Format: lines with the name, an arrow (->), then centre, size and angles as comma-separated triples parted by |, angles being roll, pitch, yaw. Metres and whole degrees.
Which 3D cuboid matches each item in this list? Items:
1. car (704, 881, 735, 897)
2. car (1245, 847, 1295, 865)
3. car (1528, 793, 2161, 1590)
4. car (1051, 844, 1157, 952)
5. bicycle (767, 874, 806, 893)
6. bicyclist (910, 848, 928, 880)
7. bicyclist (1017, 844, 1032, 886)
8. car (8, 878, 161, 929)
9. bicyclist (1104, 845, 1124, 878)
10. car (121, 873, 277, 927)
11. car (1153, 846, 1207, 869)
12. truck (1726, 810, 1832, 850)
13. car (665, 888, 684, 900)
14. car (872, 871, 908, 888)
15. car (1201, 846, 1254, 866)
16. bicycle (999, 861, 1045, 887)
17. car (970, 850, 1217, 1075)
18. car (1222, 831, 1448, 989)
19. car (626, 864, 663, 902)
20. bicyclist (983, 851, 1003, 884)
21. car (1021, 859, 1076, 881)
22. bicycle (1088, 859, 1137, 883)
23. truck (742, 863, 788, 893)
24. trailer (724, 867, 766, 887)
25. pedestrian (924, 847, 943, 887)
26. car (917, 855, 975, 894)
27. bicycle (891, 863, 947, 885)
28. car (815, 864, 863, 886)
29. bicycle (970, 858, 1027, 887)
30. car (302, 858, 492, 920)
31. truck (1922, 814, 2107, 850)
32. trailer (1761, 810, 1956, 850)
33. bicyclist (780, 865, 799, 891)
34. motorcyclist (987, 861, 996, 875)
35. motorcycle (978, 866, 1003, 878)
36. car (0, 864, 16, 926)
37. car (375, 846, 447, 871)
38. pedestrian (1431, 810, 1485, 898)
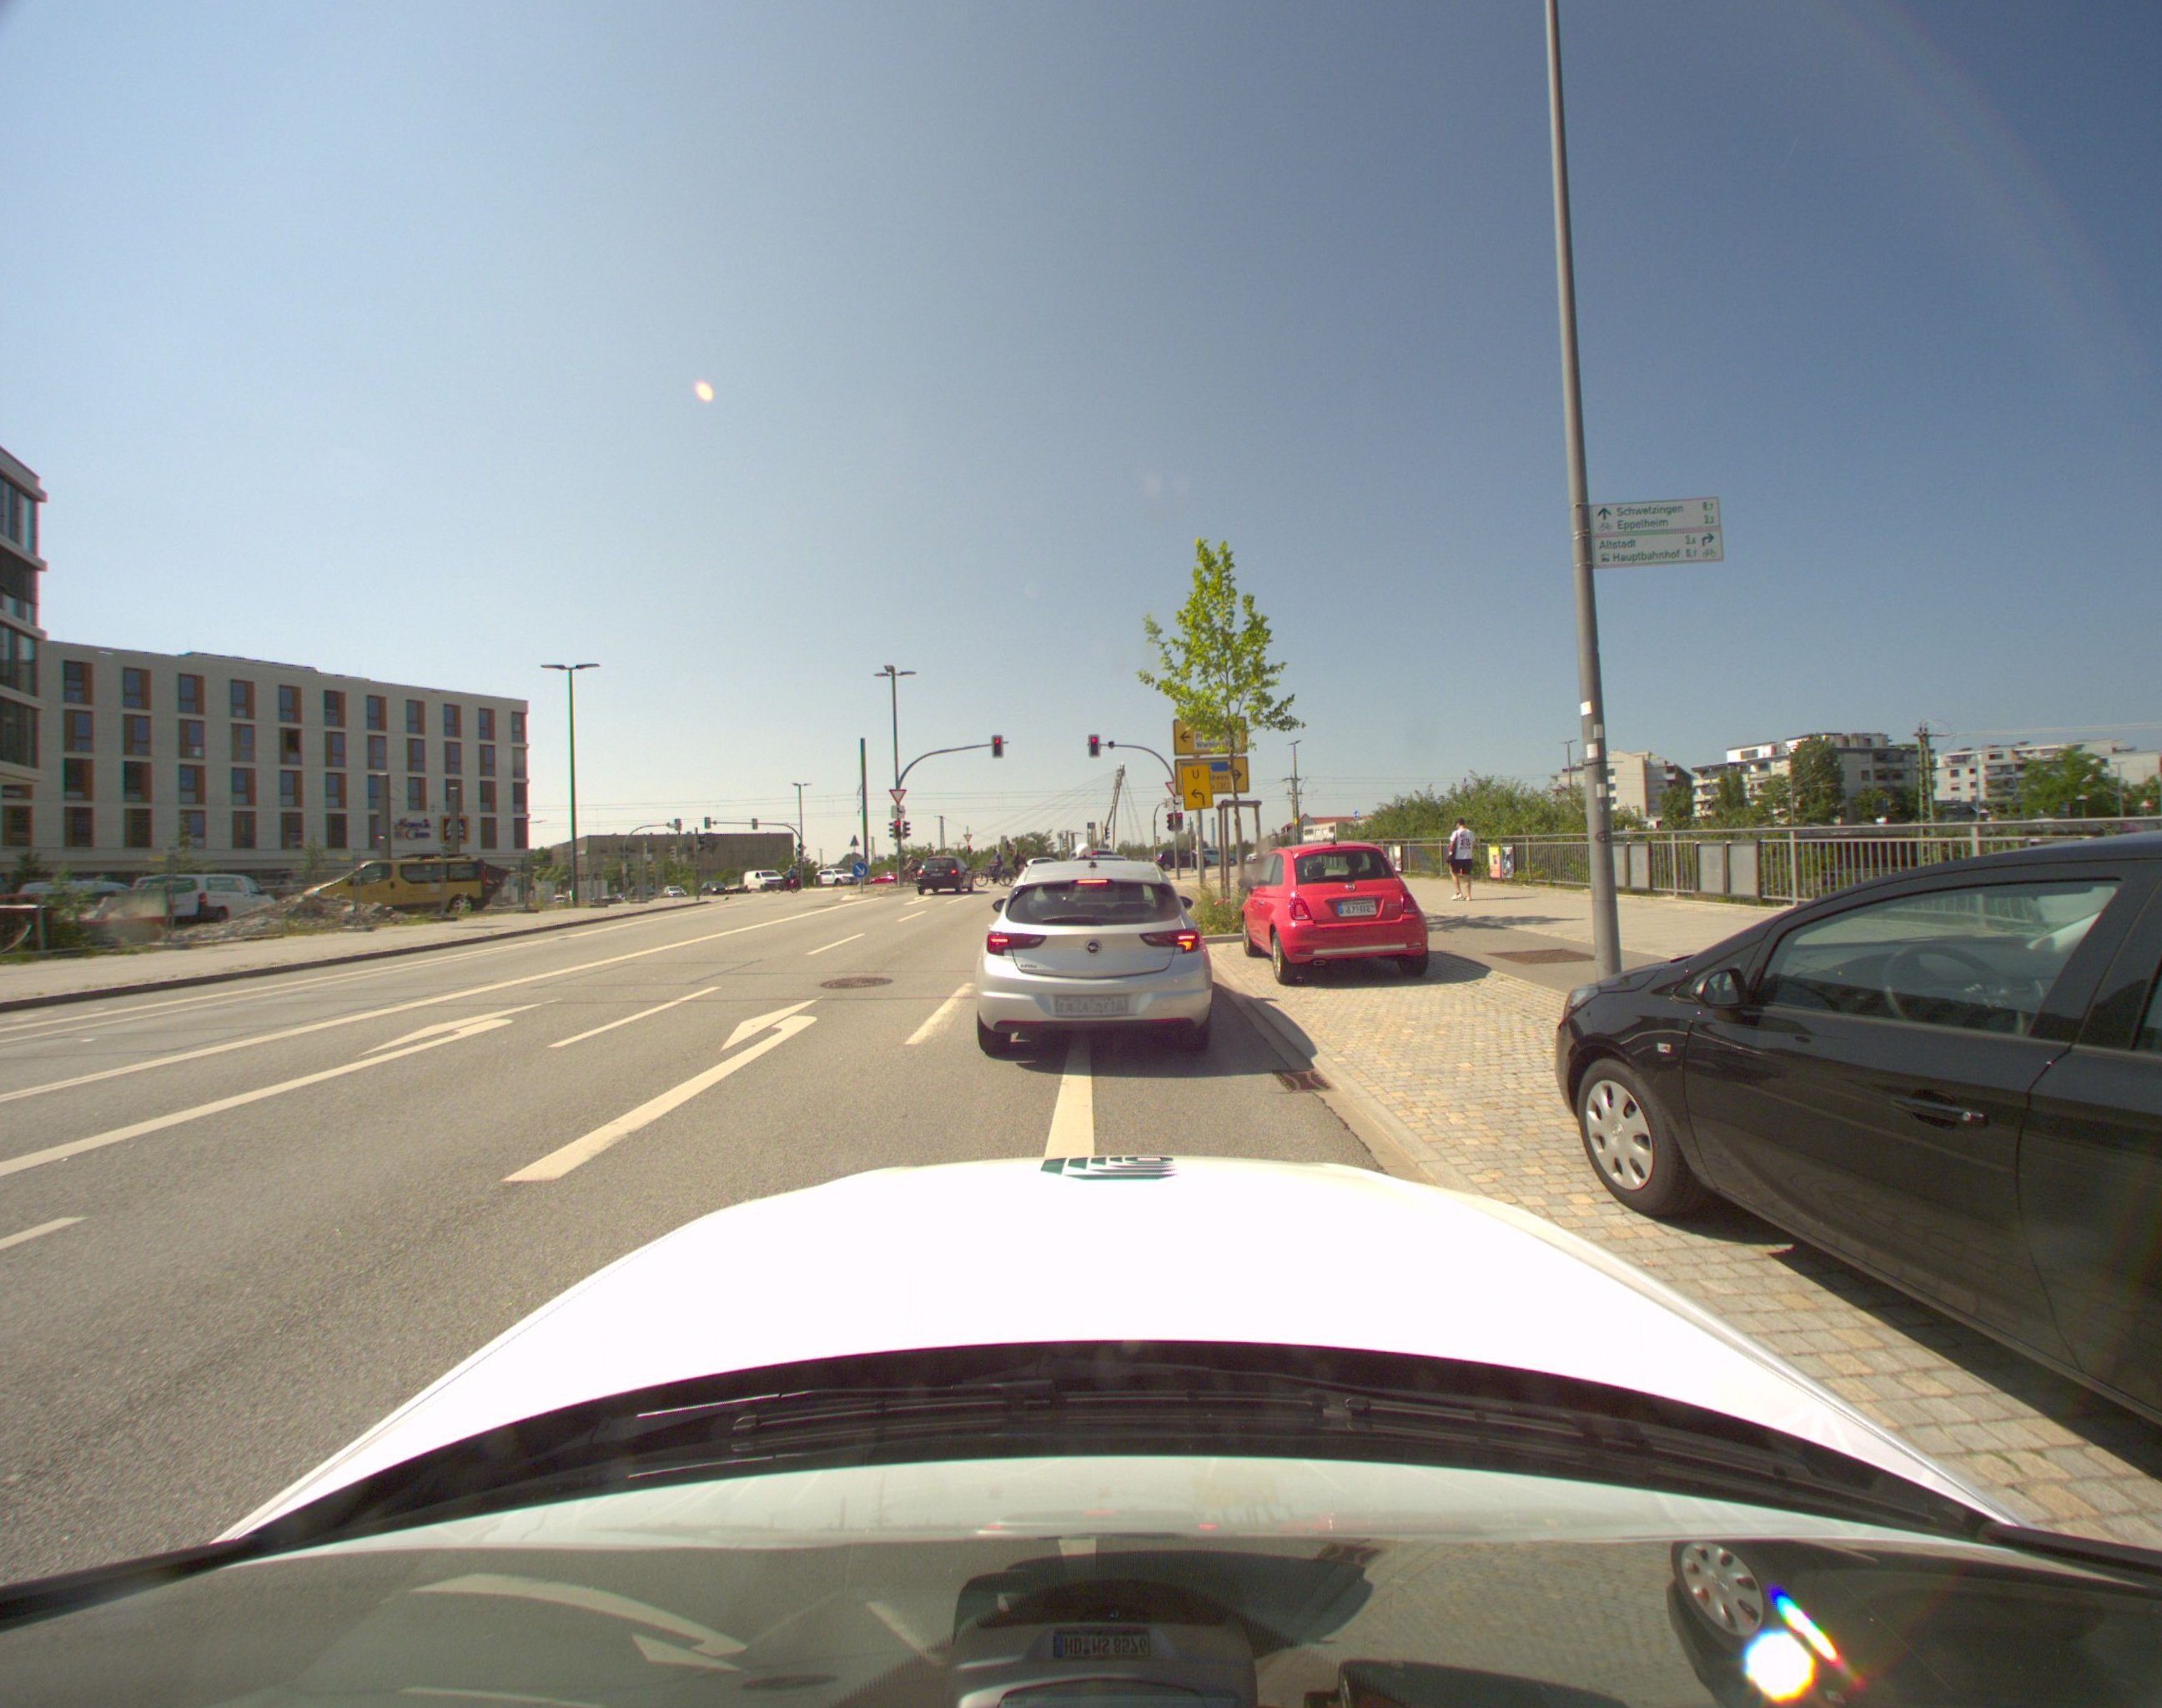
car -> -35.283, 3.388, 79.443 | 1.675, 1.390, 3.742 | 1, -1, -41
car -> 17.934, 0.171, 77.365 | 4.254, 1.673, 1.989 | -1, -1, -16
car -> 2.897, 0.633, 2.040 | 1.576, 1.555, 3.548 | -4, 0, 1
car -> 0.401, 0.704, 14.443 | 1.629, 1.674, 3.745 | 0, -1, 1
bicycle -> -17.751, 1.790, 49.131 | 2.300, 1.133, 0.640 | -1, -1, 19
bicyclist -> -7.763, 0.491, 38.971 | 0.654, 1.502, 0.844 | 0, -1, 3
bicyclist -> -2.590, 0.516, 37.279 | 0.591, 1.887, 0.637 | 0, -1, 4
car -> -33.618, 1.615, 27.643 | 1.809, 1.508, 3.965 | 0, -1, -27
bicyclist -> 1.620, 0.367, 39.785 | 0.942, 1.569, 0.822 | 0, -1, -1
car -> -31.065, 1.552, 28.904 | 2.003, 1.707, 4.526 | 0, -1, -23
car -> 7.334, 0.245, 60.431 | 3.739, 1.583, 1.811 | -1, -1, -4
truck -> 59.186, -1.982, 69.134 | 6.478, 3.204, 3.722 | 0, -1, -14
car -> -43.985, 4.287, 88.111 | 1.286, 1.240, 2.455 | 0, -1, -41
car -> -19.126, 2.579, 81.533 | 3.347, 1.655, 1.658 | -1, -1, 31
car -> 11.486, 0.151, 63.870 | 3.782, 1.362, 1.530 | -2, 0, -4
bicycle -> -2.695, 0.906, 37.288 | 2.072, 1.178, 0.556 | 0, -1, 3
car -> 0.134, 0.755, 7.755 | 1.684, 1.520, 4.272 | -1, 0, 1
car -> 2.977, 0.556, 10.409 | 1.663, 1.539, 3.918 | -3, 1, 1
car -> -24.241, 1.545, 45.311 | 1.679, 2.014, 3.965 | 0, -1, -27
bicyclist -> -4.215, 0.659, 39.133 | 0.818, 1.560, 0.864 | 0, -1, 5
car -> -2.510, 1.263, 63.187 | 3.955, 1.551, 1.678 | -2, -1, 5
bicycle -> 1.538, 0.819, 39.813 | 2.351, 1.127, 0.677 | 0, -1, -2
truck -> -27.337, 2.056, 70.462 | 2.011, 2.540, 4.650 | 0, -1, -44
trailer -> -30.346, 2.037, 73.548 | 2.011, 1.776, 4.233 | 1, -1, -45
pedestrian -> -6.818, 0.598, 37.757 | 0.738, 1.863, 0.753 | 0, -1, -1
car -> -5.169, 0.767, 31.564 | 1.581, 1.395, 3.340 | -1, -1, 1
bicycle -> -7.737, 0.954, 38.963 | 2.494, 1.007, 0.605 | -1, -1, 2
car -> -20.679, 1.823, 69.641 | 3.994, 1.815, 1.944 | -1, -1, 37
bicycle -> -3.971, 0.887, 39.114 | 2.513, 1.134, 0.729 | -6, 2, 4
car -> -22.452, 1.081, 26.892 | 1.974, 1.890, 4.514 | -1, -1, 40
truck -> 87.865, -1.977, 76.617 | 17.857, 3.204, 3.723 | 0, -1, -14
trailer -> 68.211, -1.985, 71.411 | 17.225, 3.204, 3.723 | 0, -1, -14
bicyclist -> -17.568, 1.434, 49.087 | 0.713, 1.504, 0.828 | -1, -1, 17
motorcyclist -> -9.263, 1.443, 84.065 | 0.806, 1.476, 0.885 | 0, -1, 1
motorcycle -> -9.334, 1.870, 84.021 | 2.528, 1.233, 0.648 | 0, -1, 0
car -> -36.234, 1.338, 25.326 | 2.220, 2.056, 4.133 | 0, -1, -28
car -> -54.444, 0.392, 66.230 | 3.990, 2.014, 1.992 | 0, -1, -12
pedestrian -> 8.037, 0.013, 17.394 | 0.755, 1.830, 0.885 | 0, -1, 1
